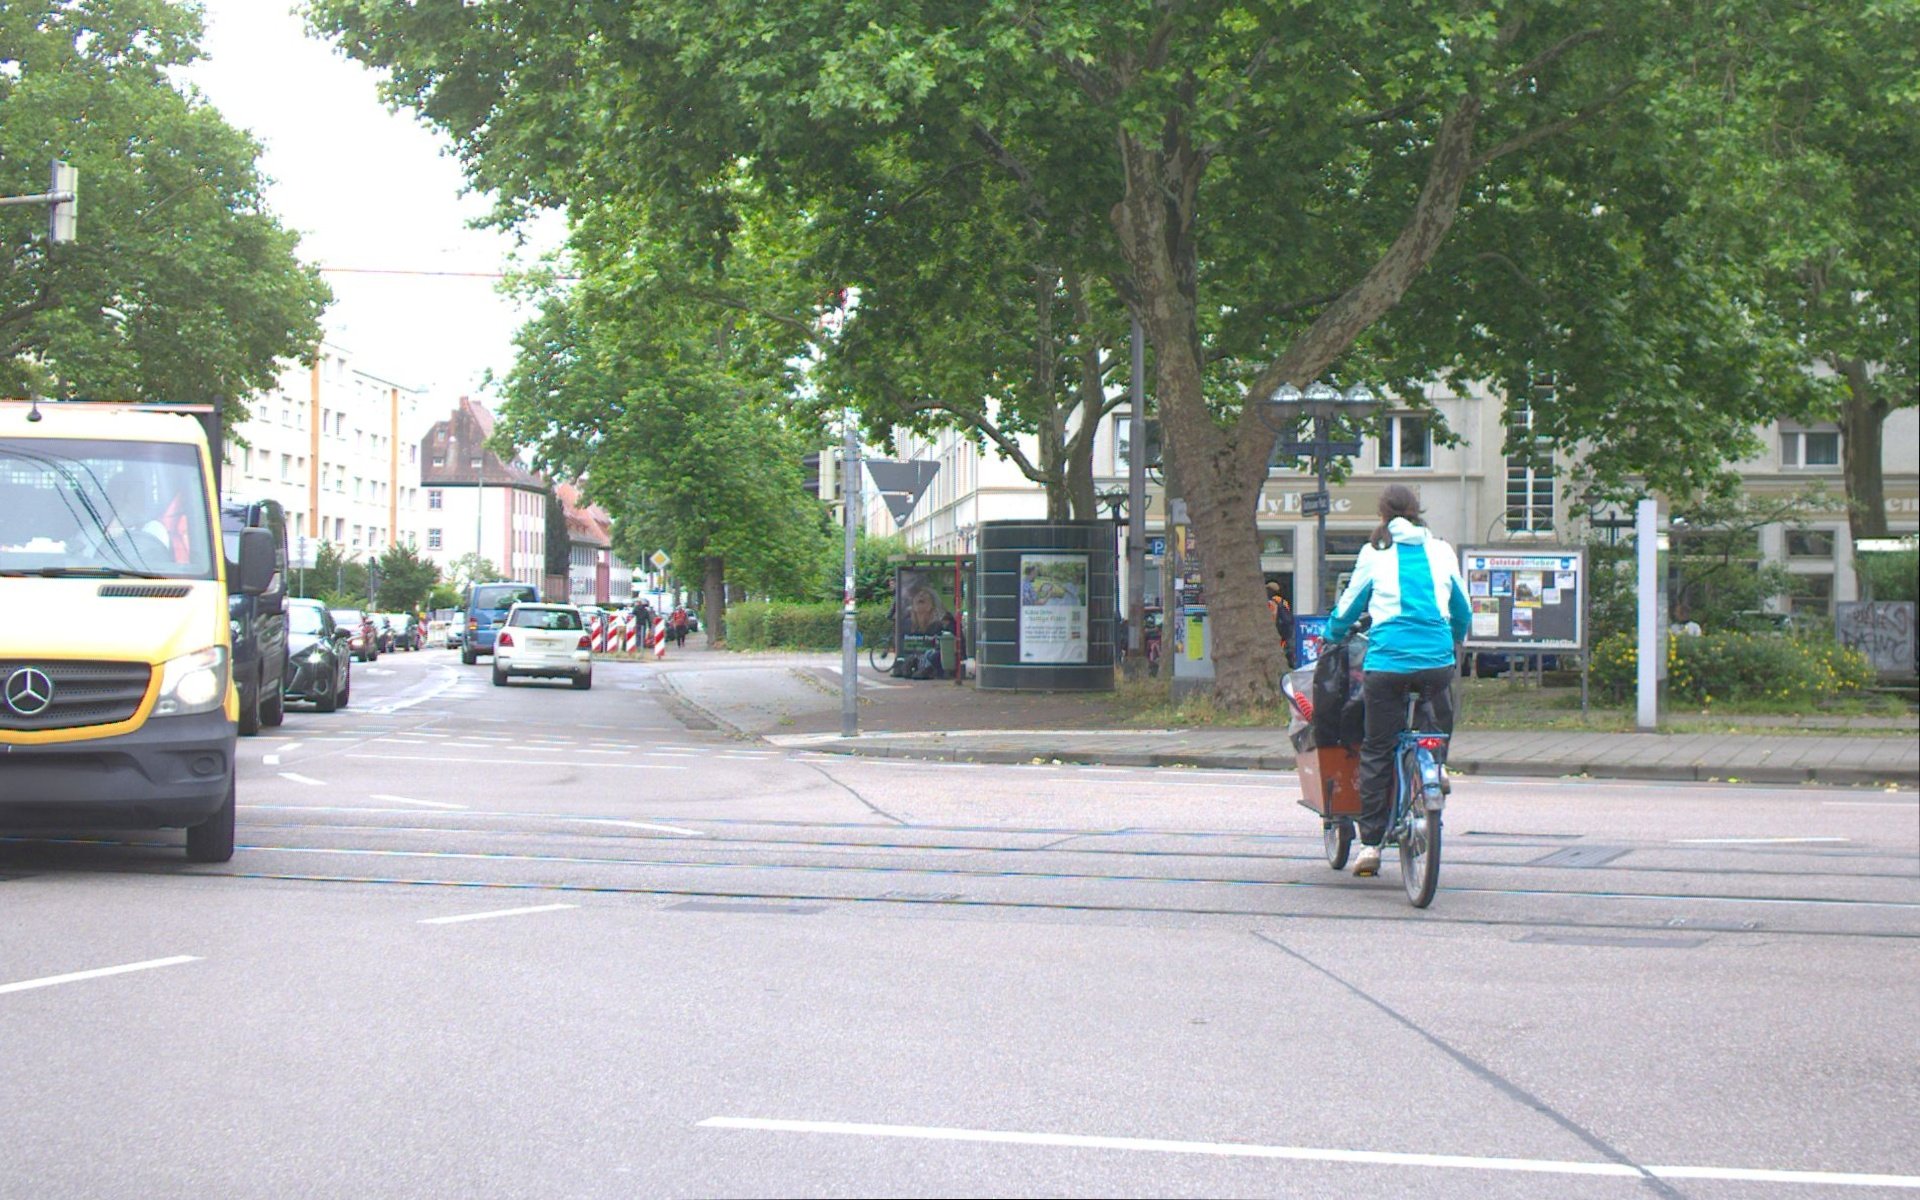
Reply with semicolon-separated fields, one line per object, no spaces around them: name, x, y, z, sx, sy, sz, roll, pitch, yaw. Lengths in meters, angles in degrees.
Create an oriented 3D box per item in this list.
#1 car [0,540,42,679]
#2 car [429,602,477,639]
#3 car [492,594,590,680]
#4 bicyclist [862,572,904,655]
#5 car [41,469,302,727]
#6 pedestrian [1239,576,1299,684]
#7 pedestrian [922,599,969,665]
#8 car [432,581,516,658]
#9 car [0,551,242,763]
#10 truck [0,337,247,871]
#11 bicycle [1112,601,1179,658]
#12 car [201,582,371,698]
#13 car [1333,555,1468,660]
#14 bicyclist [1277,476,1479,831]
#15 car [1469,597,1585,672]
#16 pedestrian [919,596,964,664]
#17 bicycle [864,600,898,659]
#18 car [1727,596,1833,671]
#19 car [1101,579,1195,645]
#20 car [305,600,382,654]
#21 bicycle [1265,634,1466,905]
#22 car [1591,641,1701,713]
car;-13.541;0.120;44.523;1.867;1.820;5.226;0;0;0
car;-20.646;0.834;140.038;1.767;1.481;4.001;0;0;-6
car;-8.069;0.691;66.352;1.815;1.586;4.001;0;0;-6
bicyclist;-1.638;0.285;72.960;0.760;1.753;0.820;0;0;-10
car;-8.025;-0.024;35.465;2.133;2.442;5.580;0;0;-8
pedestrian;5.022;0.486;55.889;0.783;1.738;0.925;0;0;-8
pedestrian;-0.286;0.636;68.314;0.853;1.310;0.763;0;0;-6
car;-11.916;0.456;84.365;1.993;1.842;4.001;0;0;-8
car;-6.337;0.396;26.062;1.666;1.484;3.906;0;0;-11
truck;-4.955;-0.004;18.097;2.074;2.400;5.464;0;1;-14
bicycle;3.849;0.608;71.028;0.779;1.164;2.330;0;0;19
car;-8.714;0.492;44.724;1.808;1.422;4.318;0;0;-6
car;9.507;0.149;73.970;2.176;2.193;3.996;0;0;18
bicyclist;1.833;0.225;15.199;0.685;1.512;1.058;0;0;-5
car;12.084;0.708;73.066;1.798;1.538;3.823;0;0;19
pedestrian;-0.375;0.602;69.218;0.817;1.367;0.763;0;0;-6
bicycle;-1.680;0.628;73.082;0.417;1.238;1.927;0;0;-10
car;17.290;0.684;72.405;1.798;1.511;3.823;0;0;19
car;4.194;0.268;76.092;1.515;1.423;3.998;0;0;11
car;-17.463;0.747;97.519;1.853;1.448;4.168;1;0;-6
bicycle;1.793;0.720;15.453;0.494;1.094;2.139;0;0;-4
car;14.620;1.611;73.150;1.798;1.435;3.823;0;0;19
